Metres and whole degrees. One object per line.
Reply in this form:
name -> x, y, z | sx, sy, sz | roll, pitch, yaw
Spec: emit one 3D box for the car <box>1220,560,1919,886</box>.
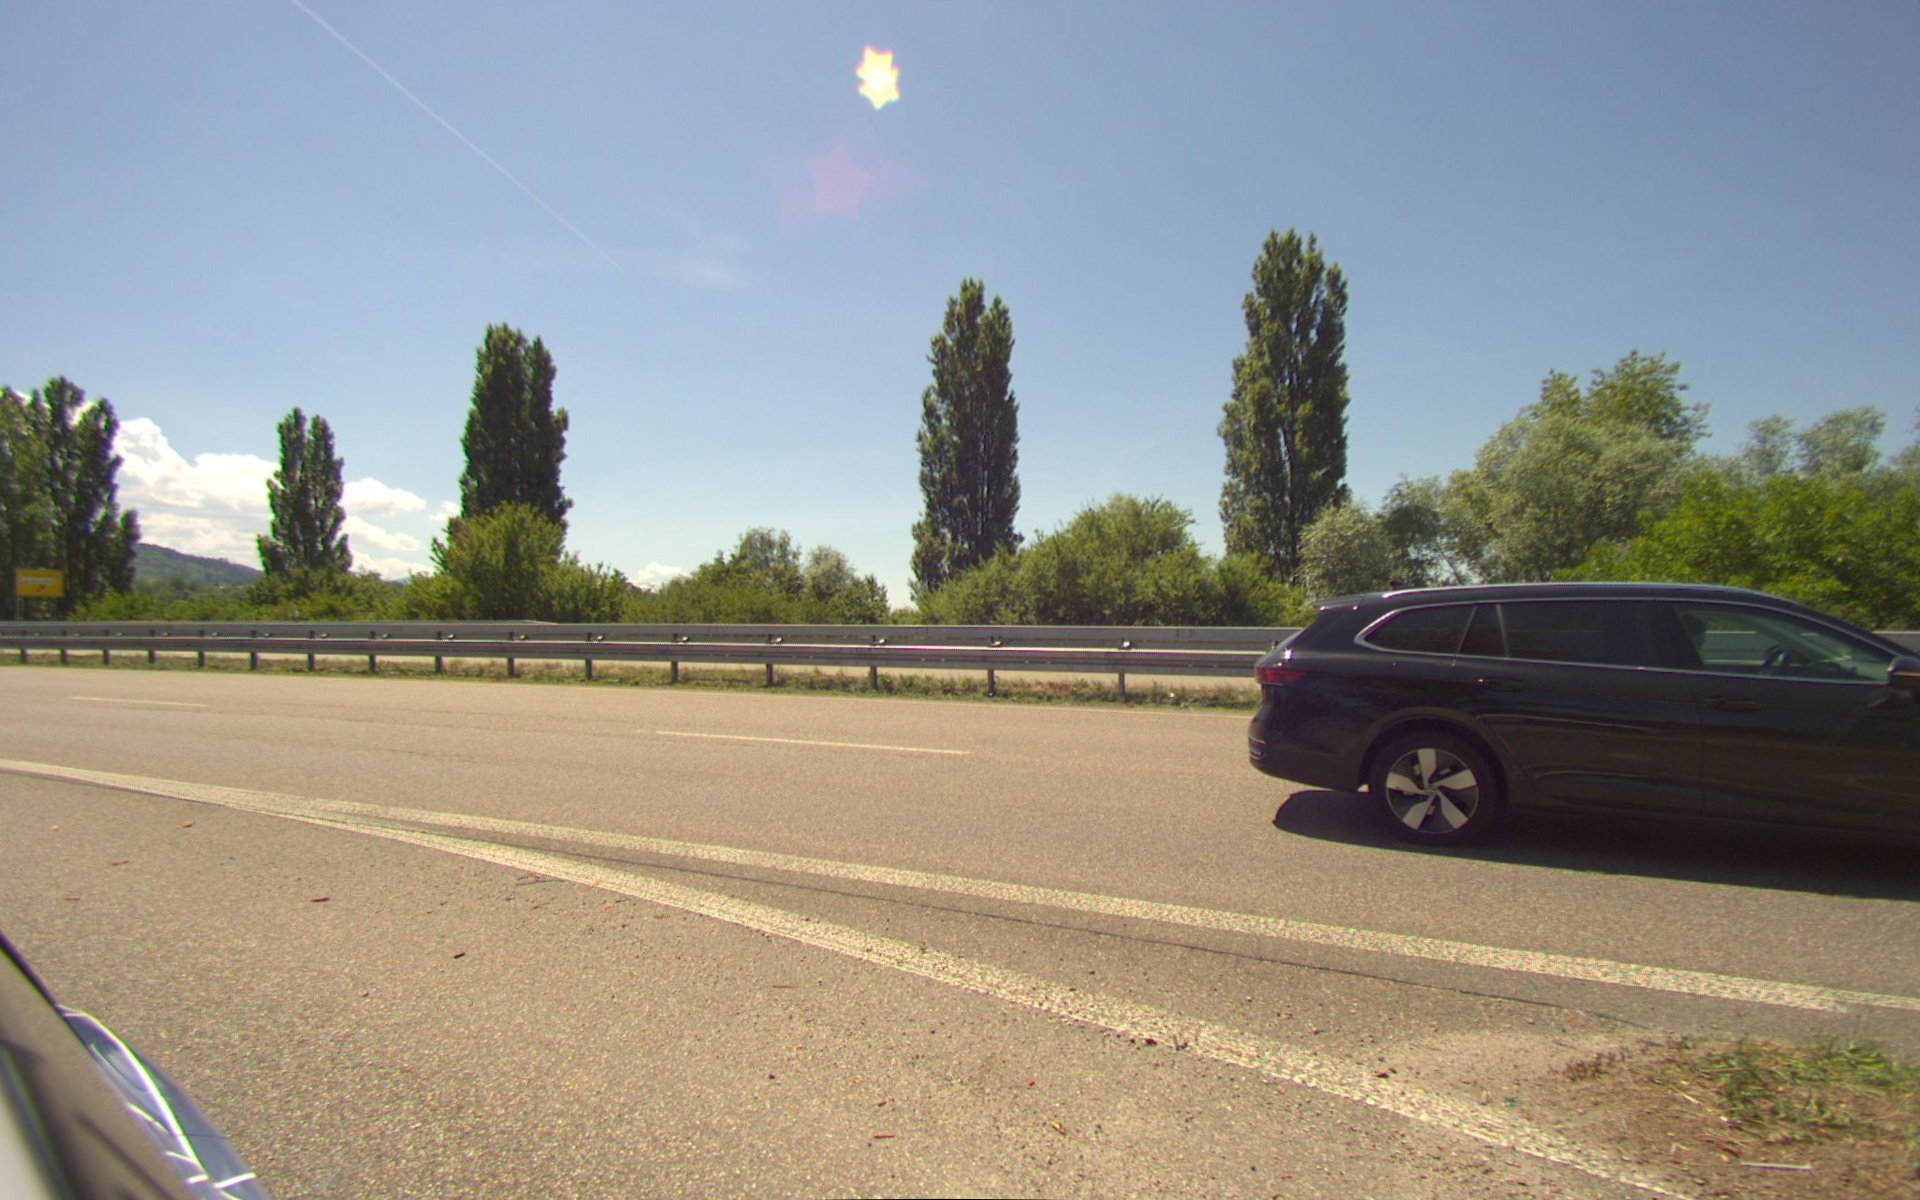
car -> 4.186, 0.566, 5.771 | 4.977, 1.492, 1.874 | -1, 0, 26
